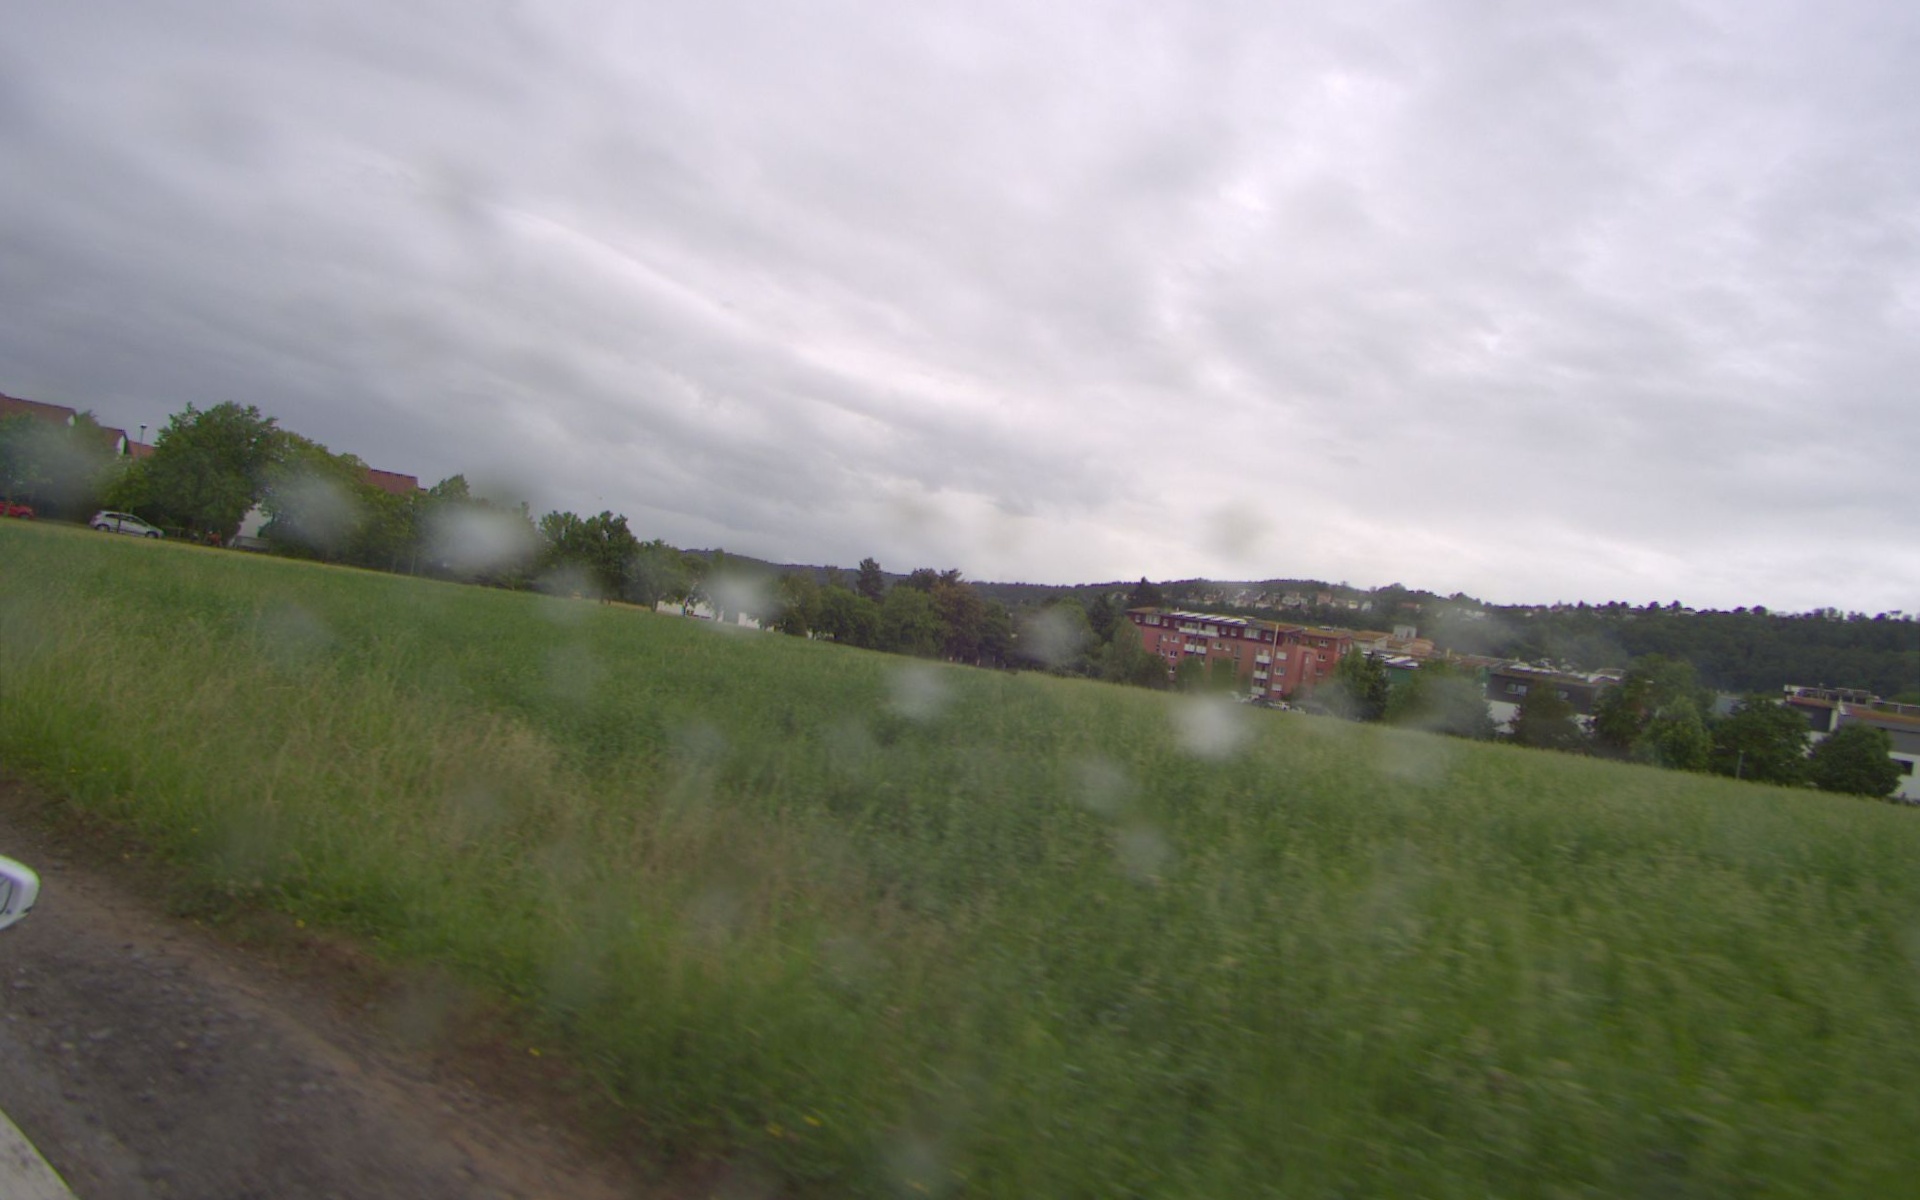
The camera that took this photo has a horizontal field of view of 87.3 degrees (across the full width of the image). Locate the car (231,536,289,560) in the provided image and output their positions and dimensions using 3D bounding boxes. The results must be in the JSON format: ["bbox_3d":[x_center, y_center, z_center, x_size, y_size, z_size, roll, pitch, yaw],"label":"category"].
[{"bbox_3d":[-54.843,-4.086,78.836,1.711,1.295,3.313,6,-3,43],"label":"car"}]

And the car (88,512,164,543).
[{"bbox_3d":[-60.480,-5.246,72.987,1.828,1.569,3.972,6,-4,44],"label":"car"}]

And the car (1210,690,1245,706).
[{"bbox_3d":[43.759,16.025,164.620,1.988,2.037,5.217,8,-3,-43],"label":"car"}]

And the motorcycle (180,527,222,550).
[{"bbox_3d":[-57.160,-4.597,75.773,0.958,1.317,2.255,6,-3,43],"label":"motorcycle"}]

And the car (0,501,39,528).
[{"bbox_3d":[-64.915,-5.896,68.579,2.992,1.452,1.536,9,-3,-41],"label":"car"}]
